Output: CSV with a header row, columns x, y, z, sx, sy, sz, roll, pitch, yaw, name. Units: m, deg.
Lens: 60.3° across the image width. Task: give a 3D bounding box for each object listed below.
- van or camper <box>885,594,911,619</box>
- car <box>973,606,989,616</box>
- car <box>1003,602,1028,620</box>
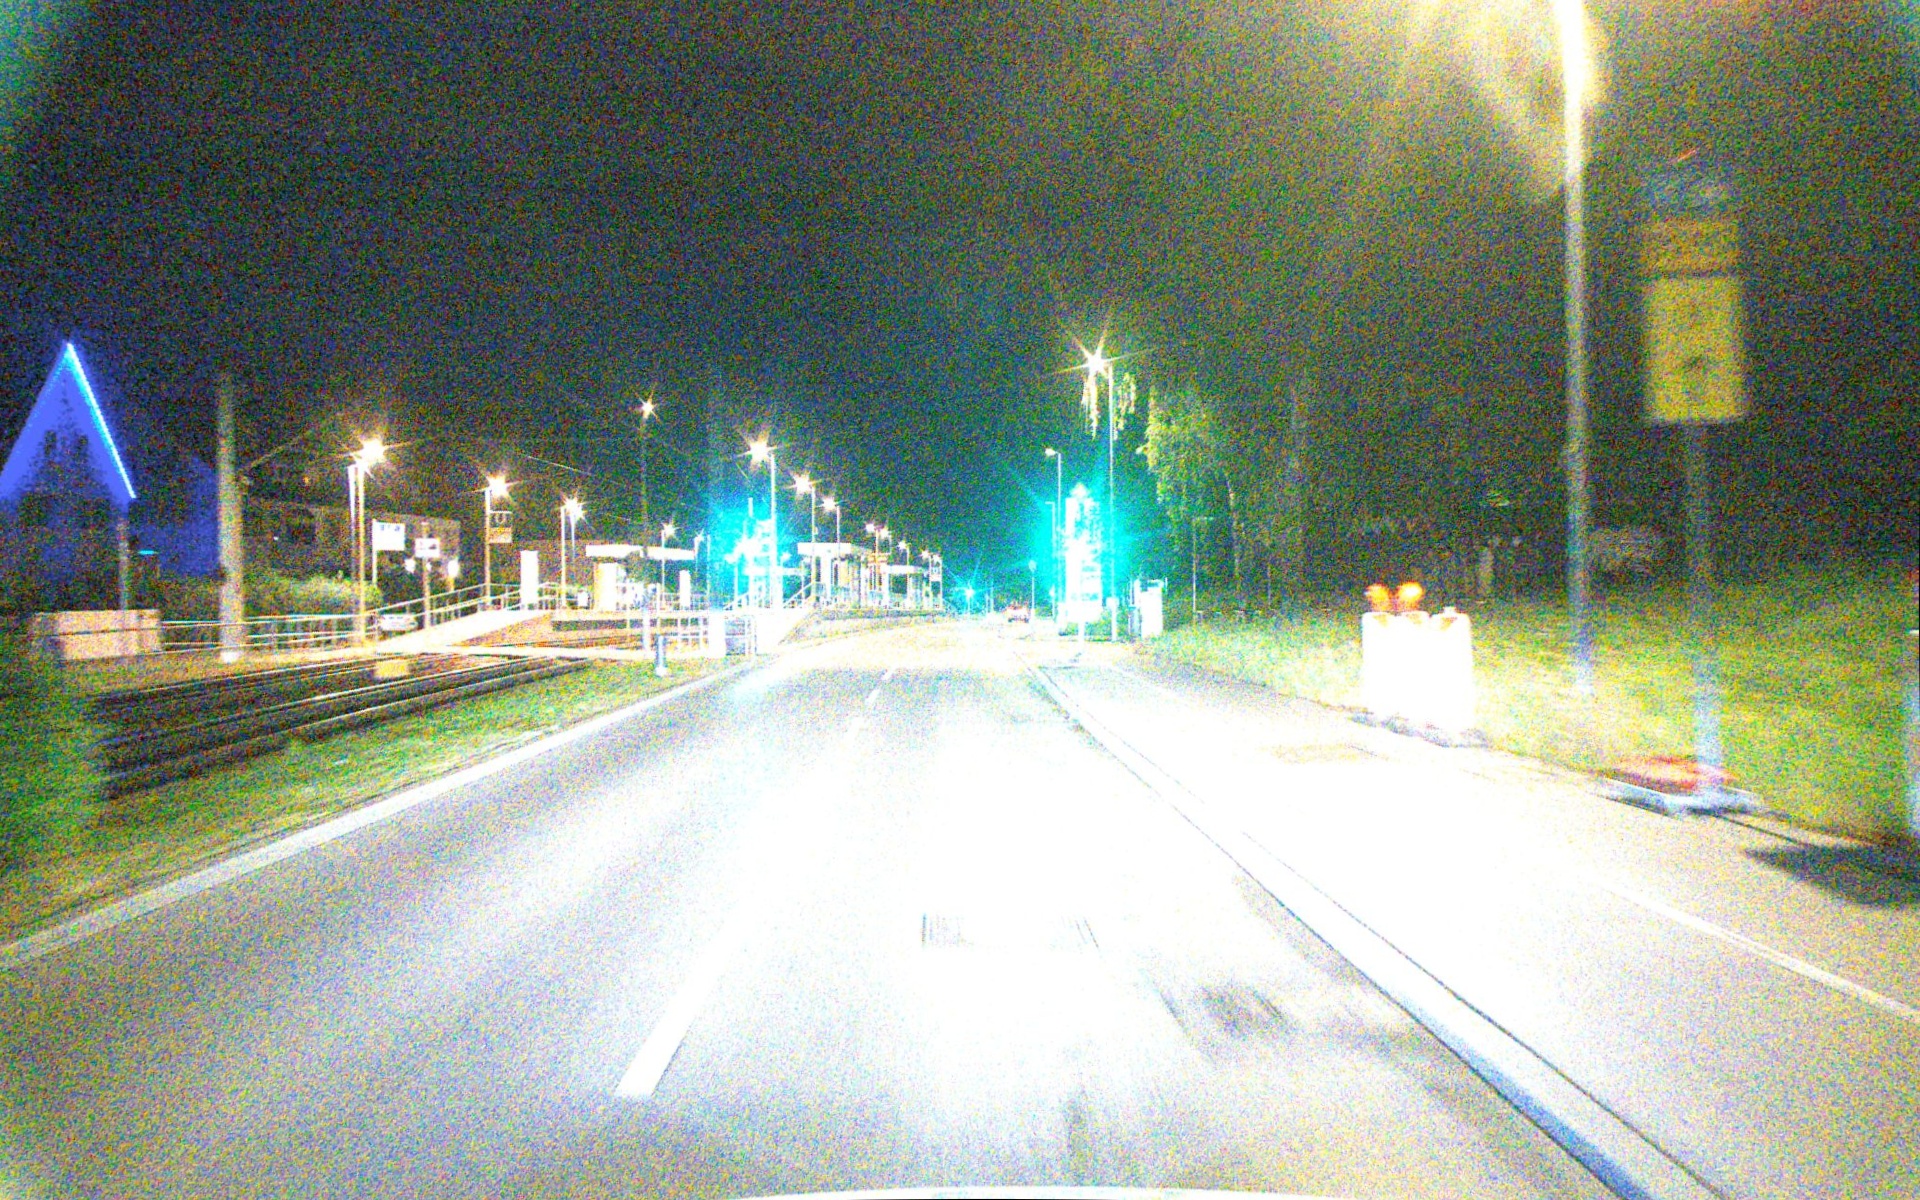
x,y,z,sx,sy,sz,roll,pitch,yaw,name
-6.796,0.715,181.795,2.225,2.693,5.667,-2,0,4,van or camper
3.233,1.706,256.537,1.951,1.657,4.681,0,0,8,car
5.124,1.035,152.862,2.116,1.610,4.015,1,-1,4,car
